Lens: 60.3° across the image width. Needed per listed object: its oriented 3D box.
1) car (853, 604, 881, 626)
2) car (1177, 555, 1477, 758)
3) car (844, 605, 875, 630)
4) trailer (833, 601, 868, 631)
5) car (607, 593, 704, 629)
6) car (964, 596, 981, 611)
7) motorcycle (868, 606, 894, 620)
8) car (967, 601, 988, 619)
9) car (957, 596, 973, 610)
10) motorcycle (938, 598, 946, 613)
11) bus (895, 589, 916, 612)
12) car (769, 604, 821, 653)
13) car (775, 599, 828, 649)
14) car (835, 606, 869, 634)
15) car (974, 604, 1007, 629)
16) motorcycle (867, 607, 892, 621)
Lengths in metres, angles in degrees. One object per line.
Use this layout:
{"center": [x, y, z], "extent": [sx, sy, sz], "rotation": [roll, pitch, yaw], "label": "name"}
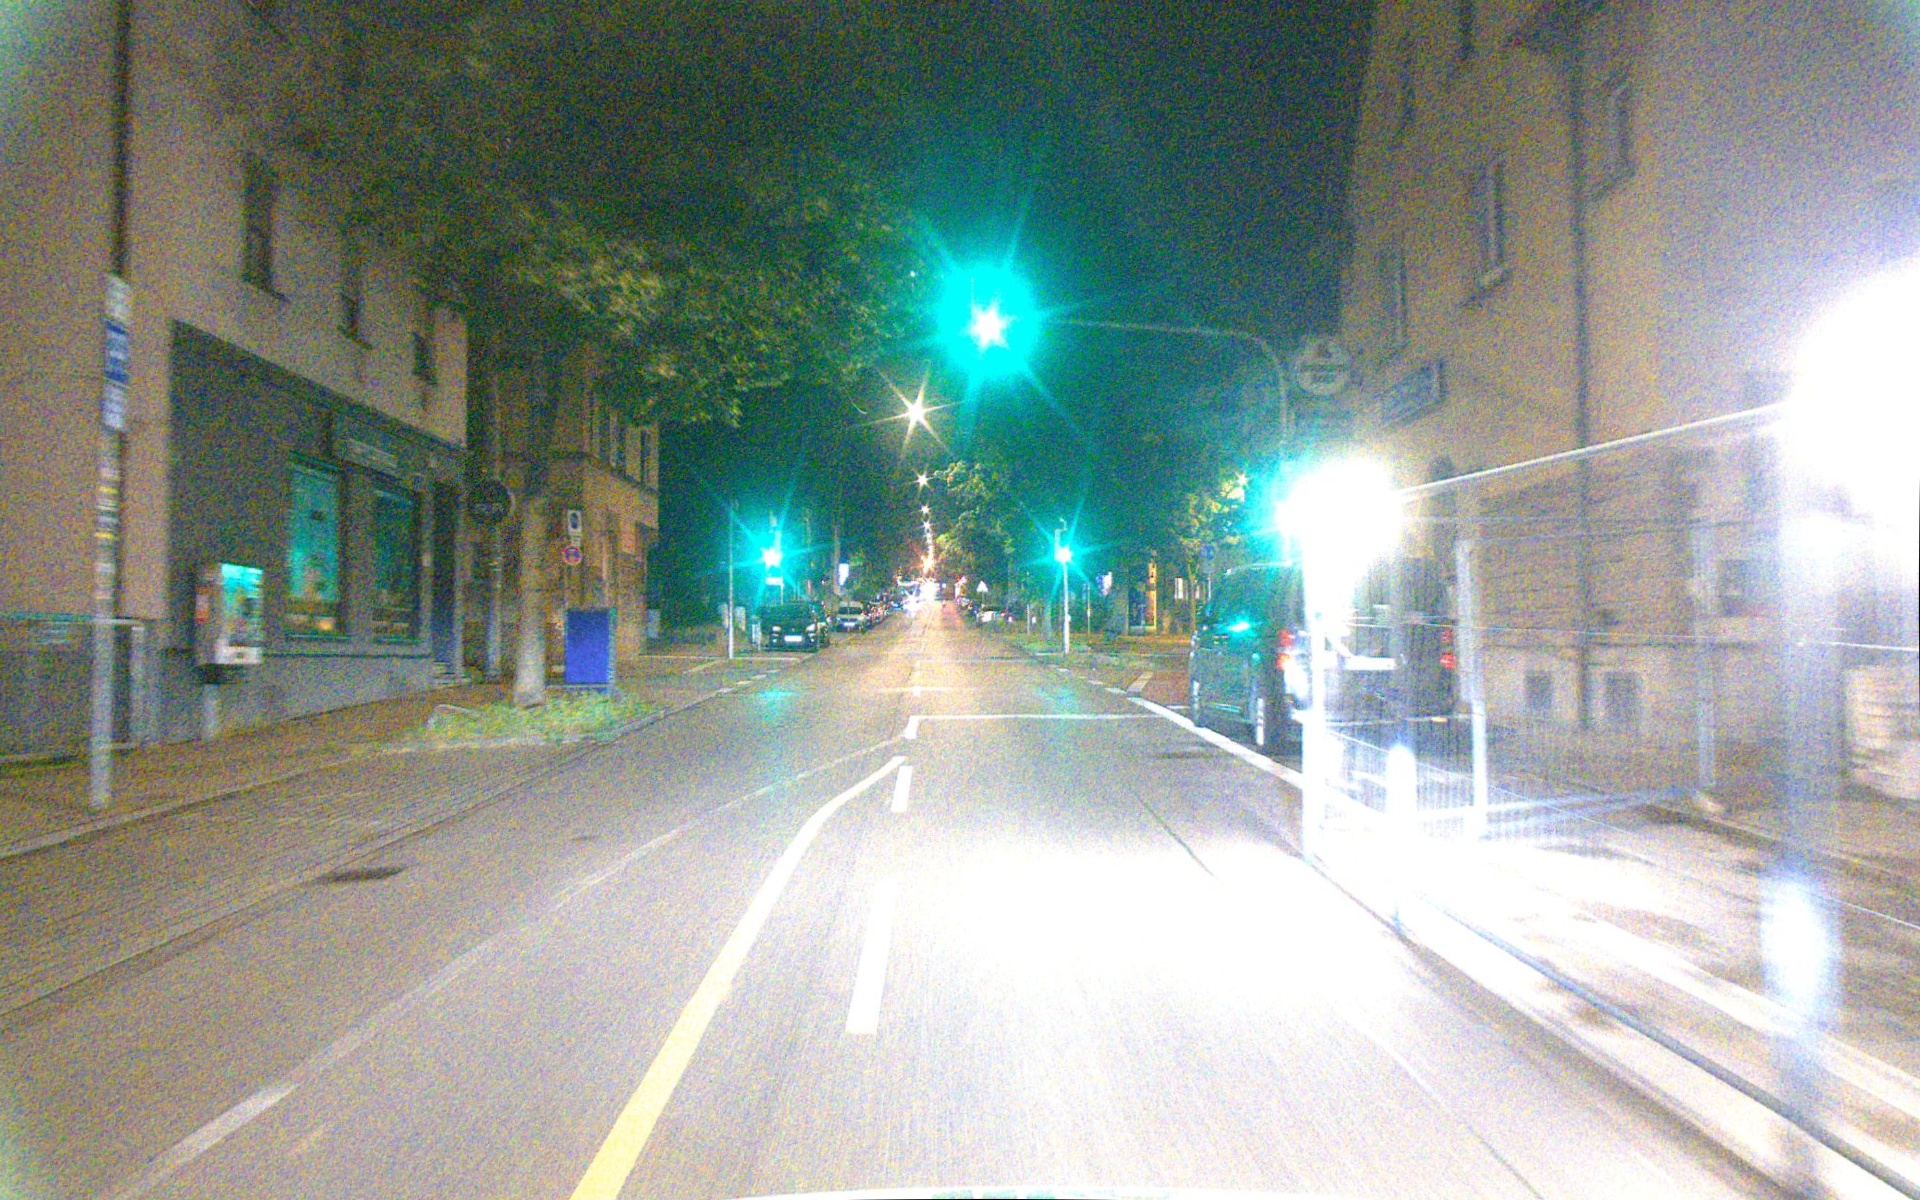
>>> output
{"center": [-6.503, 1.063, 116.042], "extent": [1.826, 1.518, 4.278], "rotation": [1, -1, -2], "label": "car"}
{"center": [3.719, 0.523, 17.713], "extent": [1.873, 1.859, 4.897], "rotation": [0, 0, -3], "label": "car"}
{"center": [-6.209, 1.078, 102.362], "extent": [1.798, 1.472, 4.543], "rotation": [0, 0, -2], "label": "car"}
{"center": [-6.365, 0.940, 96.402], "extent": [1.603, 1.668, 3.440], "rotation": [1, -1, 4], "label": "trailer"}
{"center": [-13.917, 0.515, 75.685], "extent": [3.902, 1.450, 1.763], "rotation": [2, 0, 9], "label": "car"}
{"center": [1.449, 0.377, 192.822], "extent": [1.775, 1.622, 4.273], "rotation": [-2, 1, -1], "label": "car"}
{"center": [-6.433, 1.077, 134.668], "extent": [2.162, 1.150, 0.714], "rotation": [0, 0, 32], "label": "motorcycle"}
{"center": [1.525, 0.864, 143.808], "extent": [1.727, 1.502, 4.080], "rotation": [-2, 1, -1], "label": "car"}
{"center": [0.630, 0.354, 205.967], "extent": [1.831, 1.553, 4.149], "rotation": [-2, 1, -1], "label": "car"}
{"center": [-2.191, 0.663, 200.357], "extent": [0.912, 1.783, 2.624], "rotation": [1, -1, -1], "label": "motorcycle"}
{"center": [-7.726, 0.006, 237.285], "extent": [2.780, 3.233, 10.497], "rotation": [1, 0, -1], "label": "bus"}
{"center": [-5.381, 0.929, 54.218], "extent": [1.615, 1.541, 3.698], "rotation": [1, -1, -4], "label": "car"}
{"center": [-5.683, 0.839, 59.704], "extent": [1.812, 1.679, 4.667], "rotation": [1, 0, -4], "label": "car"}
{"center": [-5.963, 1.070, 91.809], "extent": [1.778, 1.510, 4.345], "rotation": [0, 0, -2], "label": "car"}
{"center": [1.938, 1.057, 105.371], "extent": [1.808, 1.442, 4.643], "rotation": [-3, -1, -2], "label": "car"}
{"center": [-6.454, 1.119, 132.649], "extent": [0.710, 1.167, 2.174], "rotation": [-1, 1, -43], "label": "motorcycle"}
